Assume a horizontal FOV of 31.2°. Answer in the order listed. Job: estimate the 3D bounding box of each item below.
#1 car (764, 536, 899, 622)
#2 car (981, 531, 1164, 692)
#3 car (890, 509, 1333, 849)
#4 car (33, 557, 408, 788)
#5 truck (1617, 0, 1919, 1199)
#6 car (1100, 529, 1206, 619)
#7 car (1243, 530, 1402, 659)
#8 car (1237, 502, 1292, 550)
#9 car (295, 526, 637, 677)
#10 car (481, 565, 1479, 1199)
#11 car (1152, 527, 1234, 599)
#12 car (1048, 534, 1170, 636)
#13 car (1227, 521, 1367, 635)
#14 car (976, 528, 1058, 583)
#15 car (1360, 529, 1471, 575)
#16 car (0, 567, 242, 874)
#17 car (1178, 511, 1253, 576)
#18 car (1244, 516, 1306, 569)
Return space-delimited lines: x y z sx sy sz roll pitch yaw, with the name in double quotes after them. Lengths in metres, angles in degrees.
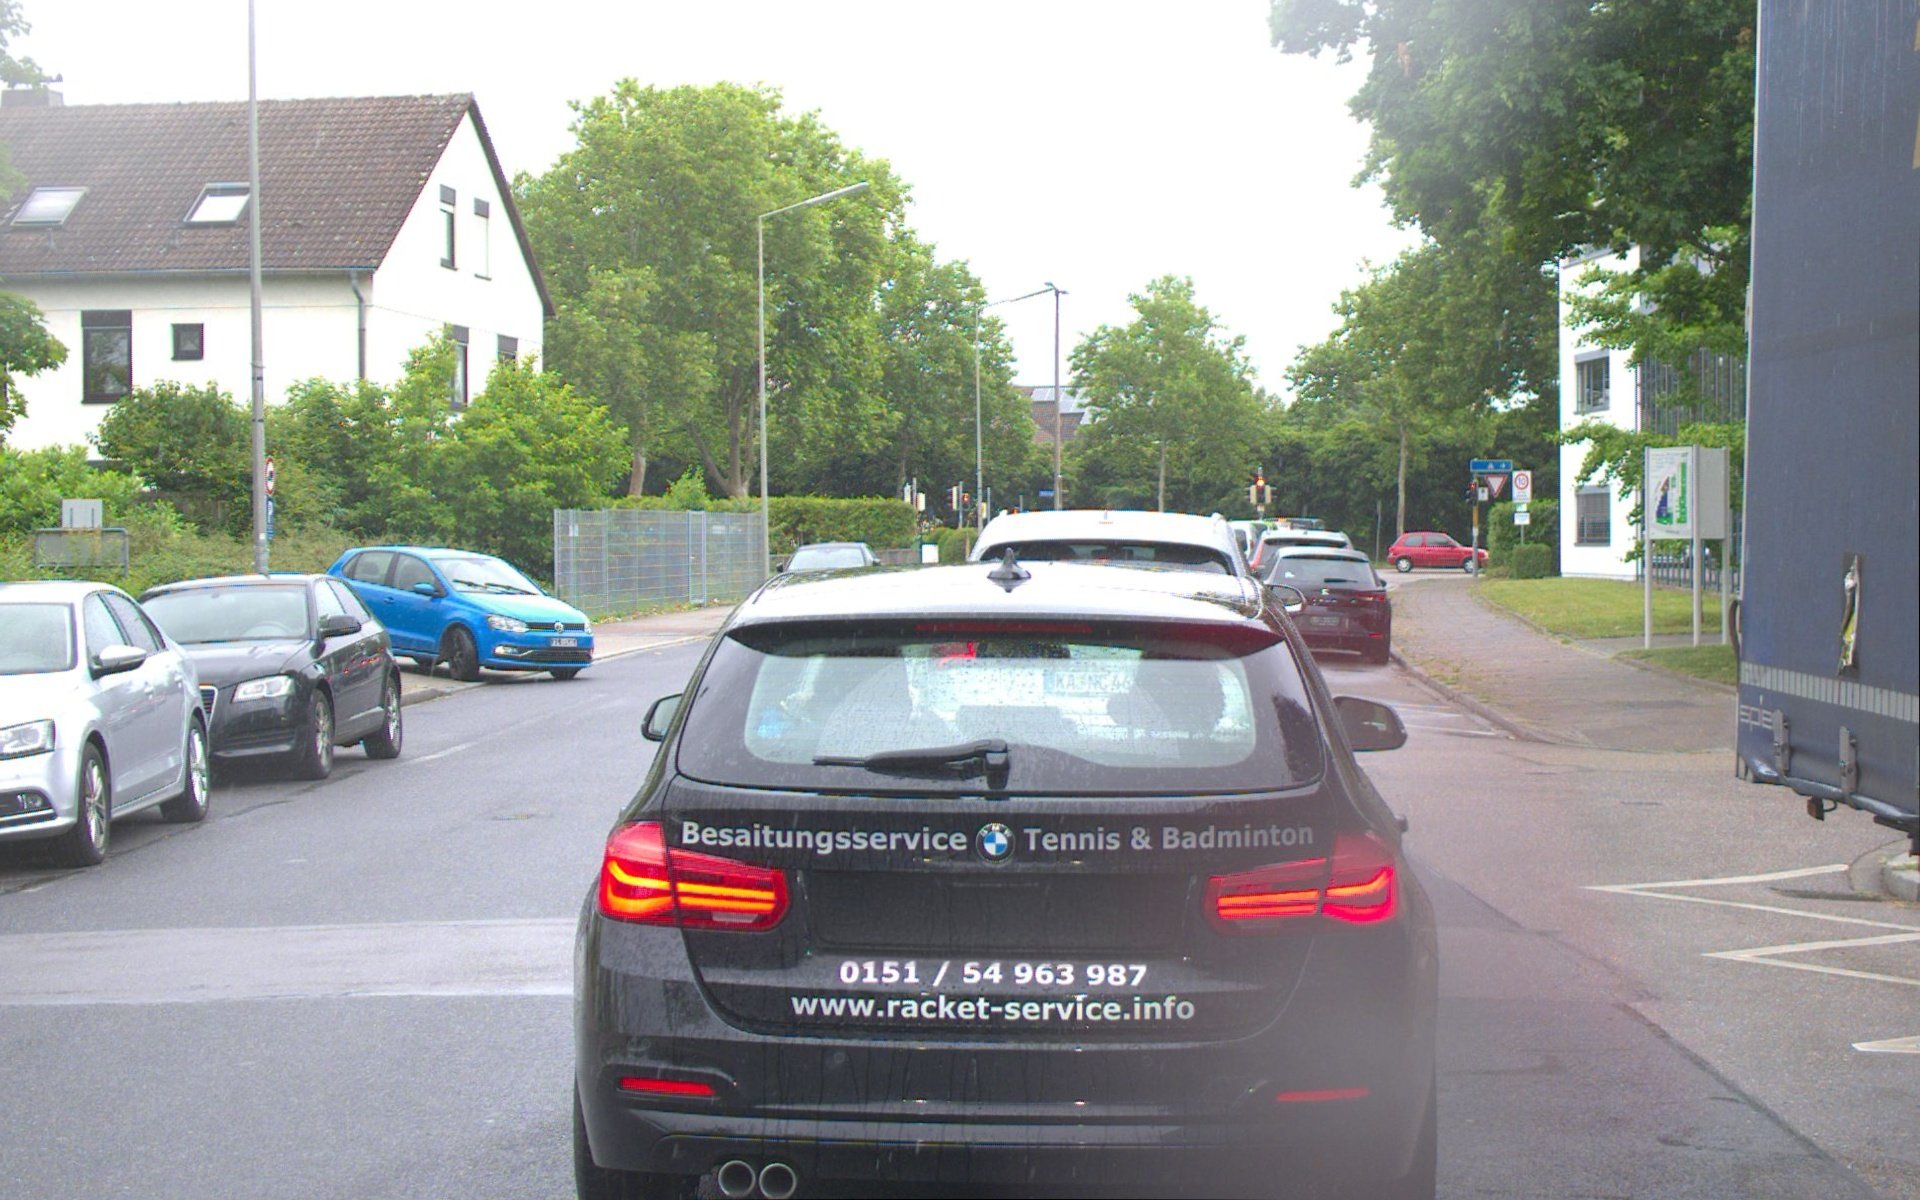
-2.244 -0.387 60.827 1.706 1.362 3.837 -2 1 8 "car"
1.210 0.093 36.193 1.804 1.581 4.000 1 1 3 "car"
0.672 0.350 18.067 1.804 1.581 4.001 0 1 -5 "car"
-5.041 0.441 23.931 1.705 1.362 3.838 -3 1 0 "car"
3.044 -0.495 4.395 2.741 3.598 7.750 2 1 0 "truck"
3.559 -0.483 62.741 1.804 1.581 3.999 1 1 5 "car"
4.666 -0.092 44.665 1.804 1.581 4.000 1 1 3 "car"
10.232 -2.476 115.674 1.804 1.581 4.000 0 1 5 "car"
-5.748 0.029 39.828 3.834 1.589 1.707 -2 2 39 "car"
0.048 0.623 8.253 1.804 1.390 4.000 0 1 0 "car"
5.333 -0.842 78.391 1.804 1.581 3.999 1 1 5 "car"
2.455 -0.255 55.744 1.804 1.581 3.999 1 1 5 "car"
4.878 -0.328 50.197 1.804 1.581 4.000 1 1 3 "car"
1.548 -1.210 92.438 1.706 1.362 3.837 -2 1 8 "car"
16.209 -1.695 122.220 3.827 1.580 1.710 0 2 11 "car"
-5.143 0.574 18.310 1.705 1.362 4.602 -3 1 -1 "car"
6.386 -1.413 85.714 1.804 1.581 4.000 0 1 5 "car"
9.467 -1.746 103.516 1.804 1.581 4.000 0 1 5 "car"
